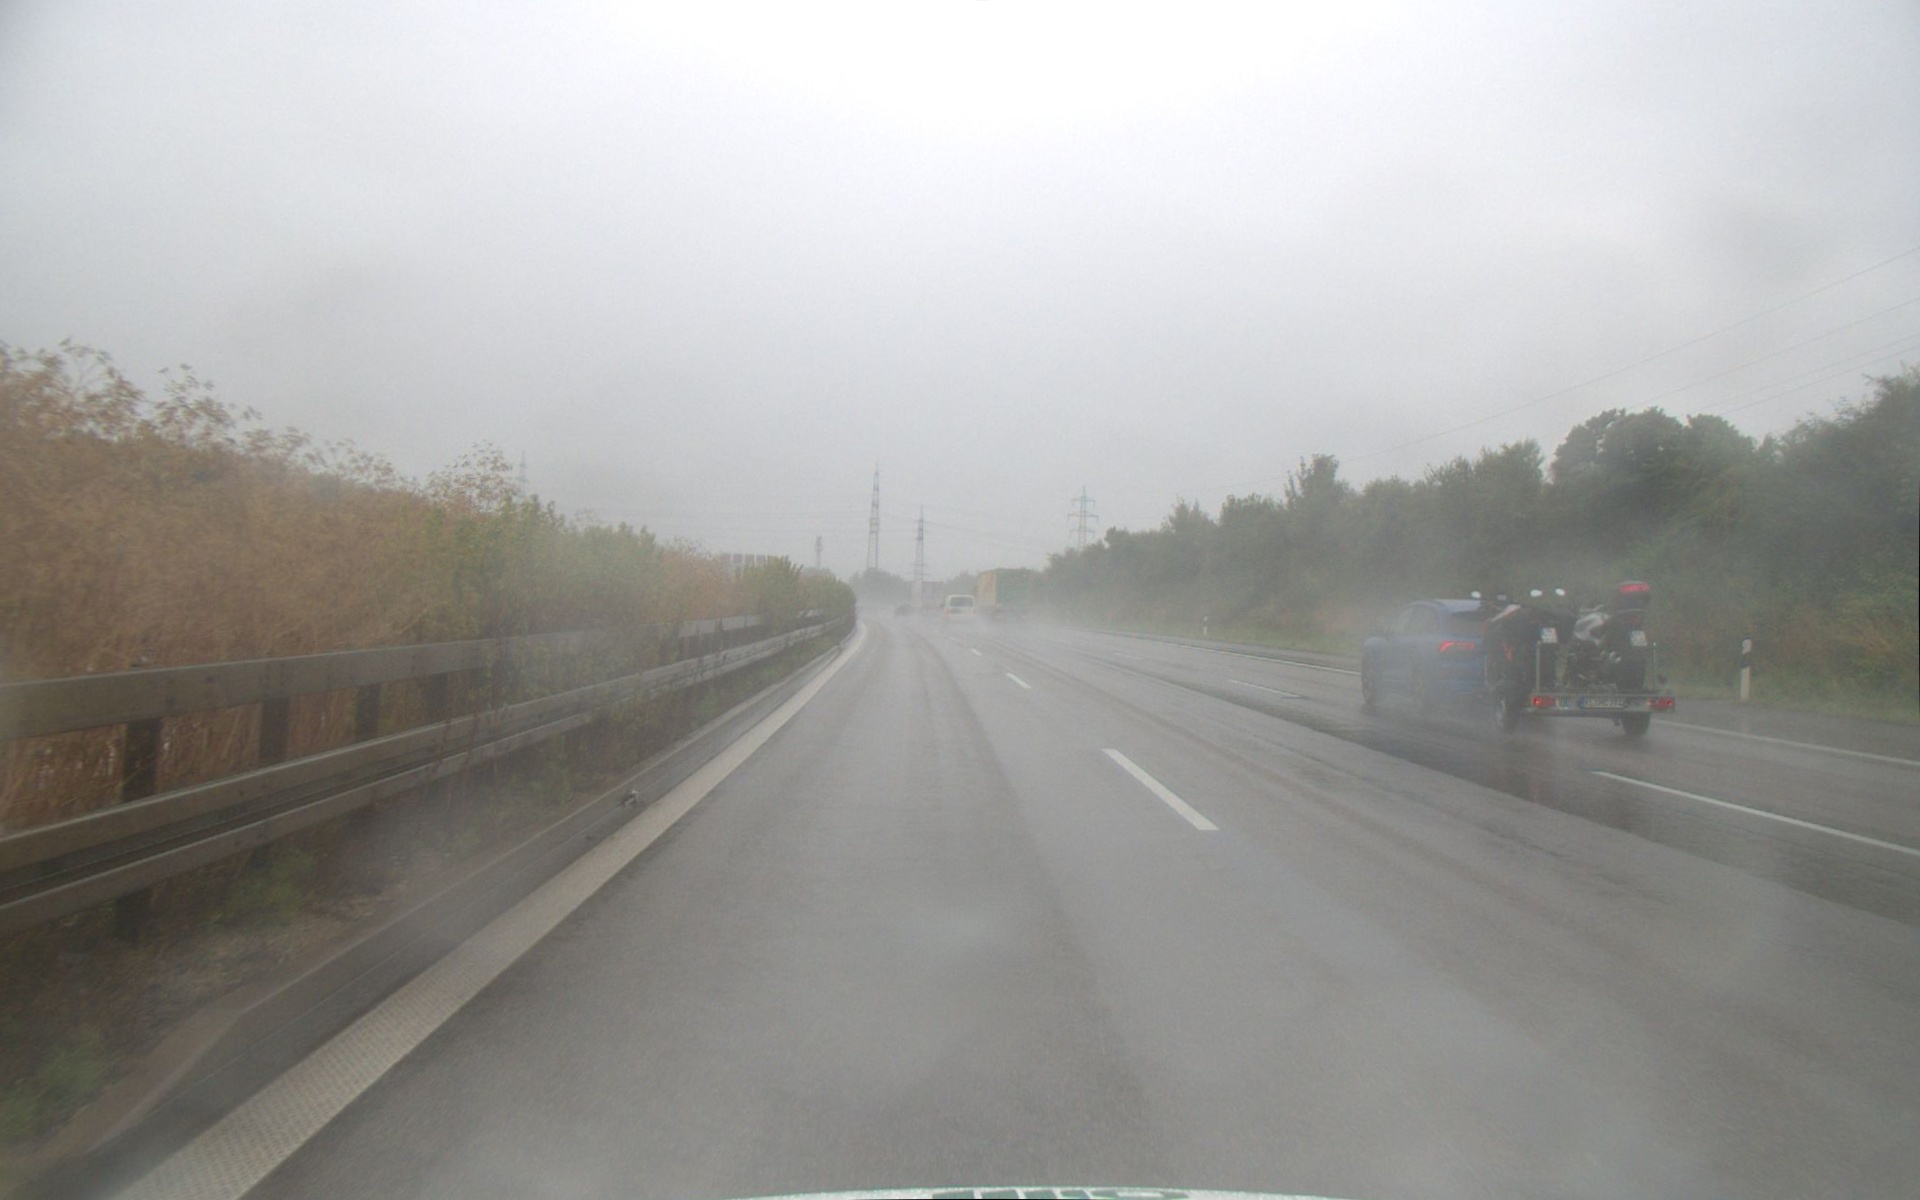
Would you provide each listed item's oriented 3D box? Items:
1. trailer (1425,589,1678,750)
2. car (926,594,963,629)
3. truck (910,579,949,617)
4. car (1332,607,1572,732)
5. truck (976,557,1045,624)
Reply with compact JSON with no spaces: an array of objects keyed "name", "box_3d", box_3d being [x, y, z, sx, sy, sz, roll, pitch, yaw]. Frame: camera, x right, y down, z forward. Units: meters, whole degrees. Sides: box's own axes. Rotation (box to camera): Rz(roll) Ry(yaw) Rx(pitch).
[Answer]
[{"name":"trailer","box_3d":[7.183,0.808,20.424,1.939,1.816,3.188,1,-1,-1]},{"name":"car","box_3d":[-0.960,0.689,100.939,1.955,2.049,3.995,1,0,-5]},{"name":"truck","box_3d":[-3.668,-0.263,194.799,3.174,4.387,8.815,1,0,-10]},{"name":"car","box_3d":[7.131,0.953,24.553,1.953,1.647,4.990,1,-1,-2]},{"name":"truck","box_3d":[3.655,-0.591,124.824,4.105,4.711,16.097,1,-1,-2]}]
